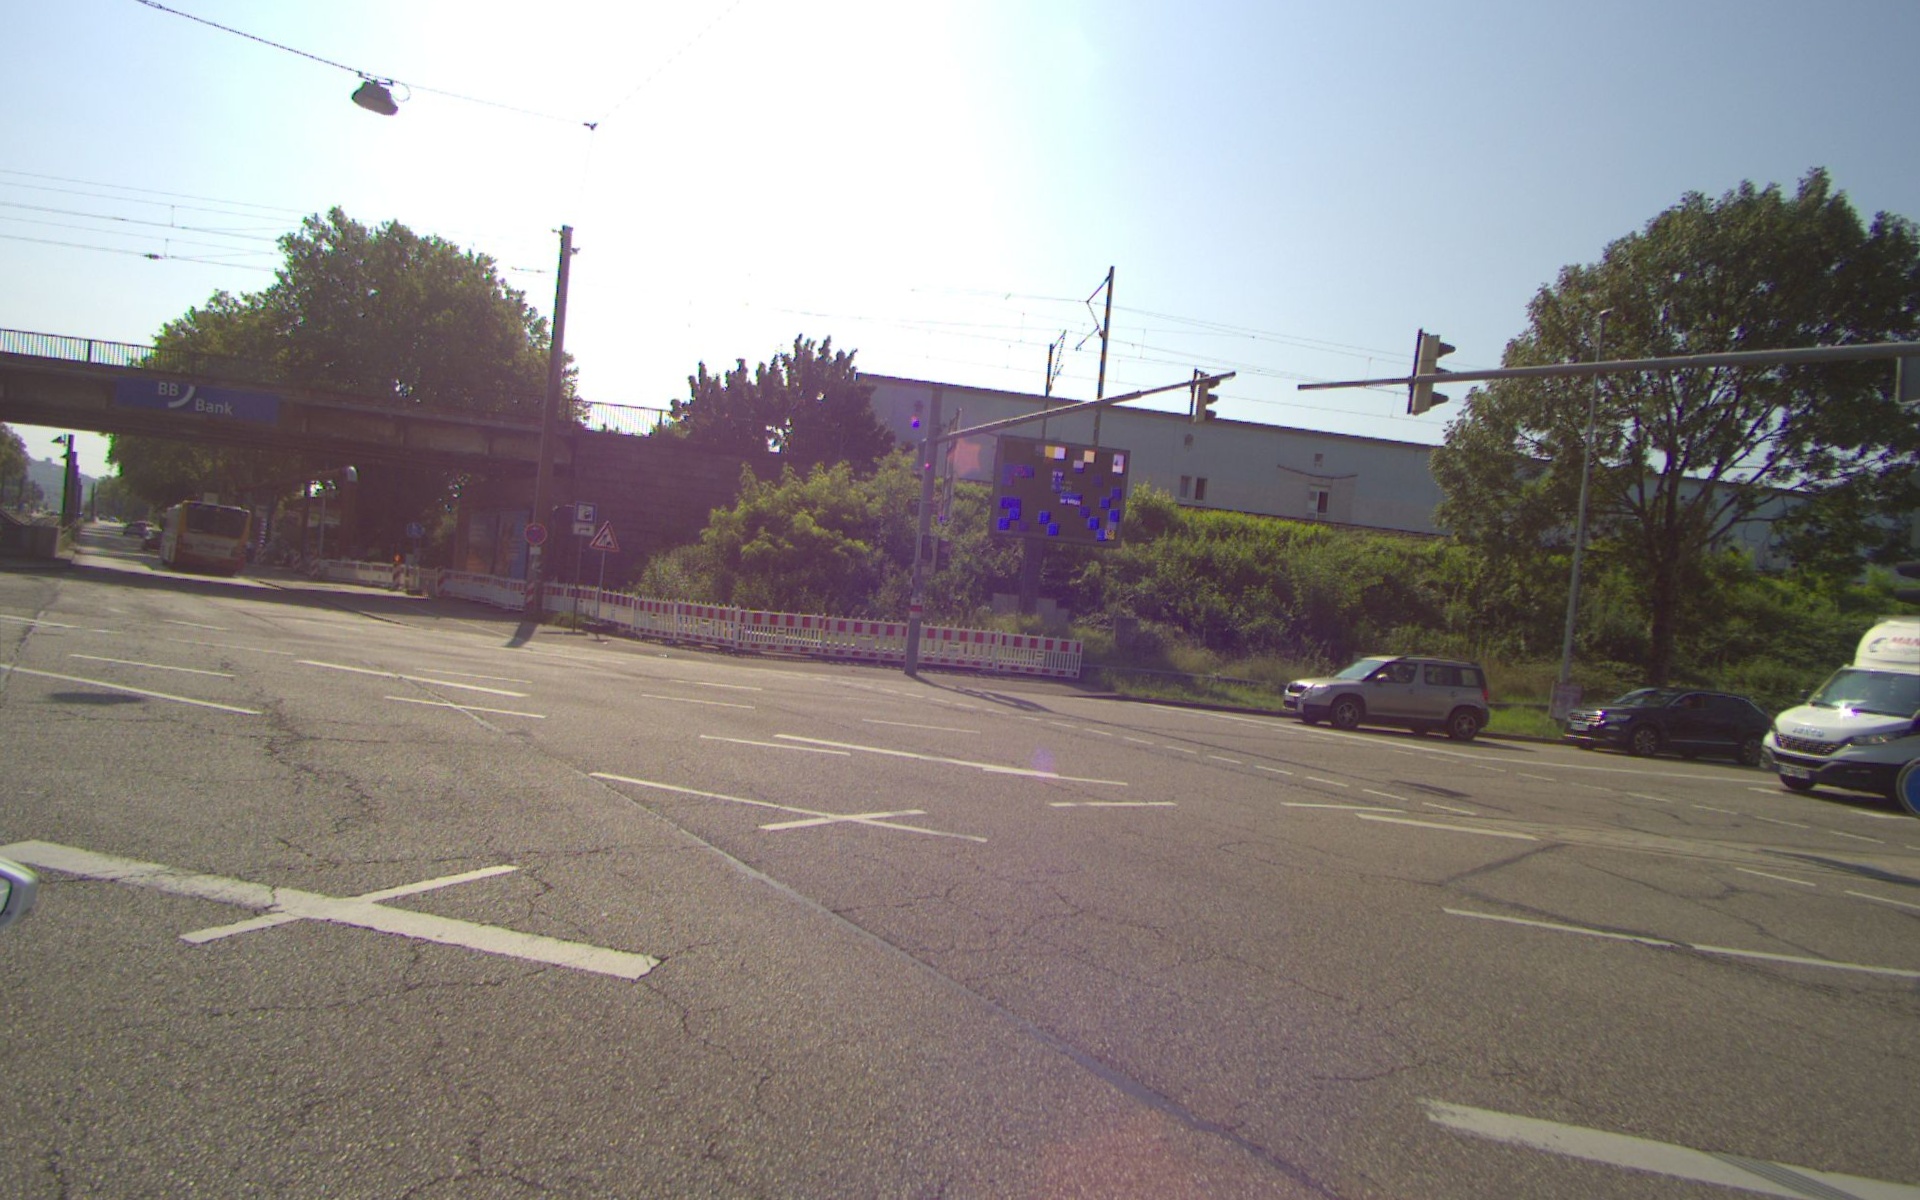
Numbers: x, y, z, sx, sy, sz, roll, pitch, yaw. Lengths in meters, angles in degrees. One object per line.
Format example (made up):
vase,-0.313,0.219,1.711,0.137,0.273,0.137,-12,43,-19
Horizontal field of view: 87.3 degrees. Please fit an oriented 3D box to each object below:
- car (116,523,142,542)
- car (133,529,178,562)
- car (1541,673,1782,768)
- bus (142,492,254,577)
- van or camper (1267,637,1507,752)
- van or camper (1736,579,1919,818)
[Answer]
car,-102.906,-8.402,124.588,1.989,2.036,3.951,9,-3,-44
car,-59.152,-4.013,73.945,1.989,2.036,3.951,9,-3,-44
car,15.184,2.585,21.882,3.930,1.570,1.999,6,-2,-8
bus,-36.814,-3.107,48.333,3.126,3.148,12.150,10,-3,-41
van or camper,8.871,1.946,21.087,4.101,1.797,1.851,8,-2,-6
van or camper,16.623,1.873,16.044,6.729,3.401,2.249,8,-2,-4
